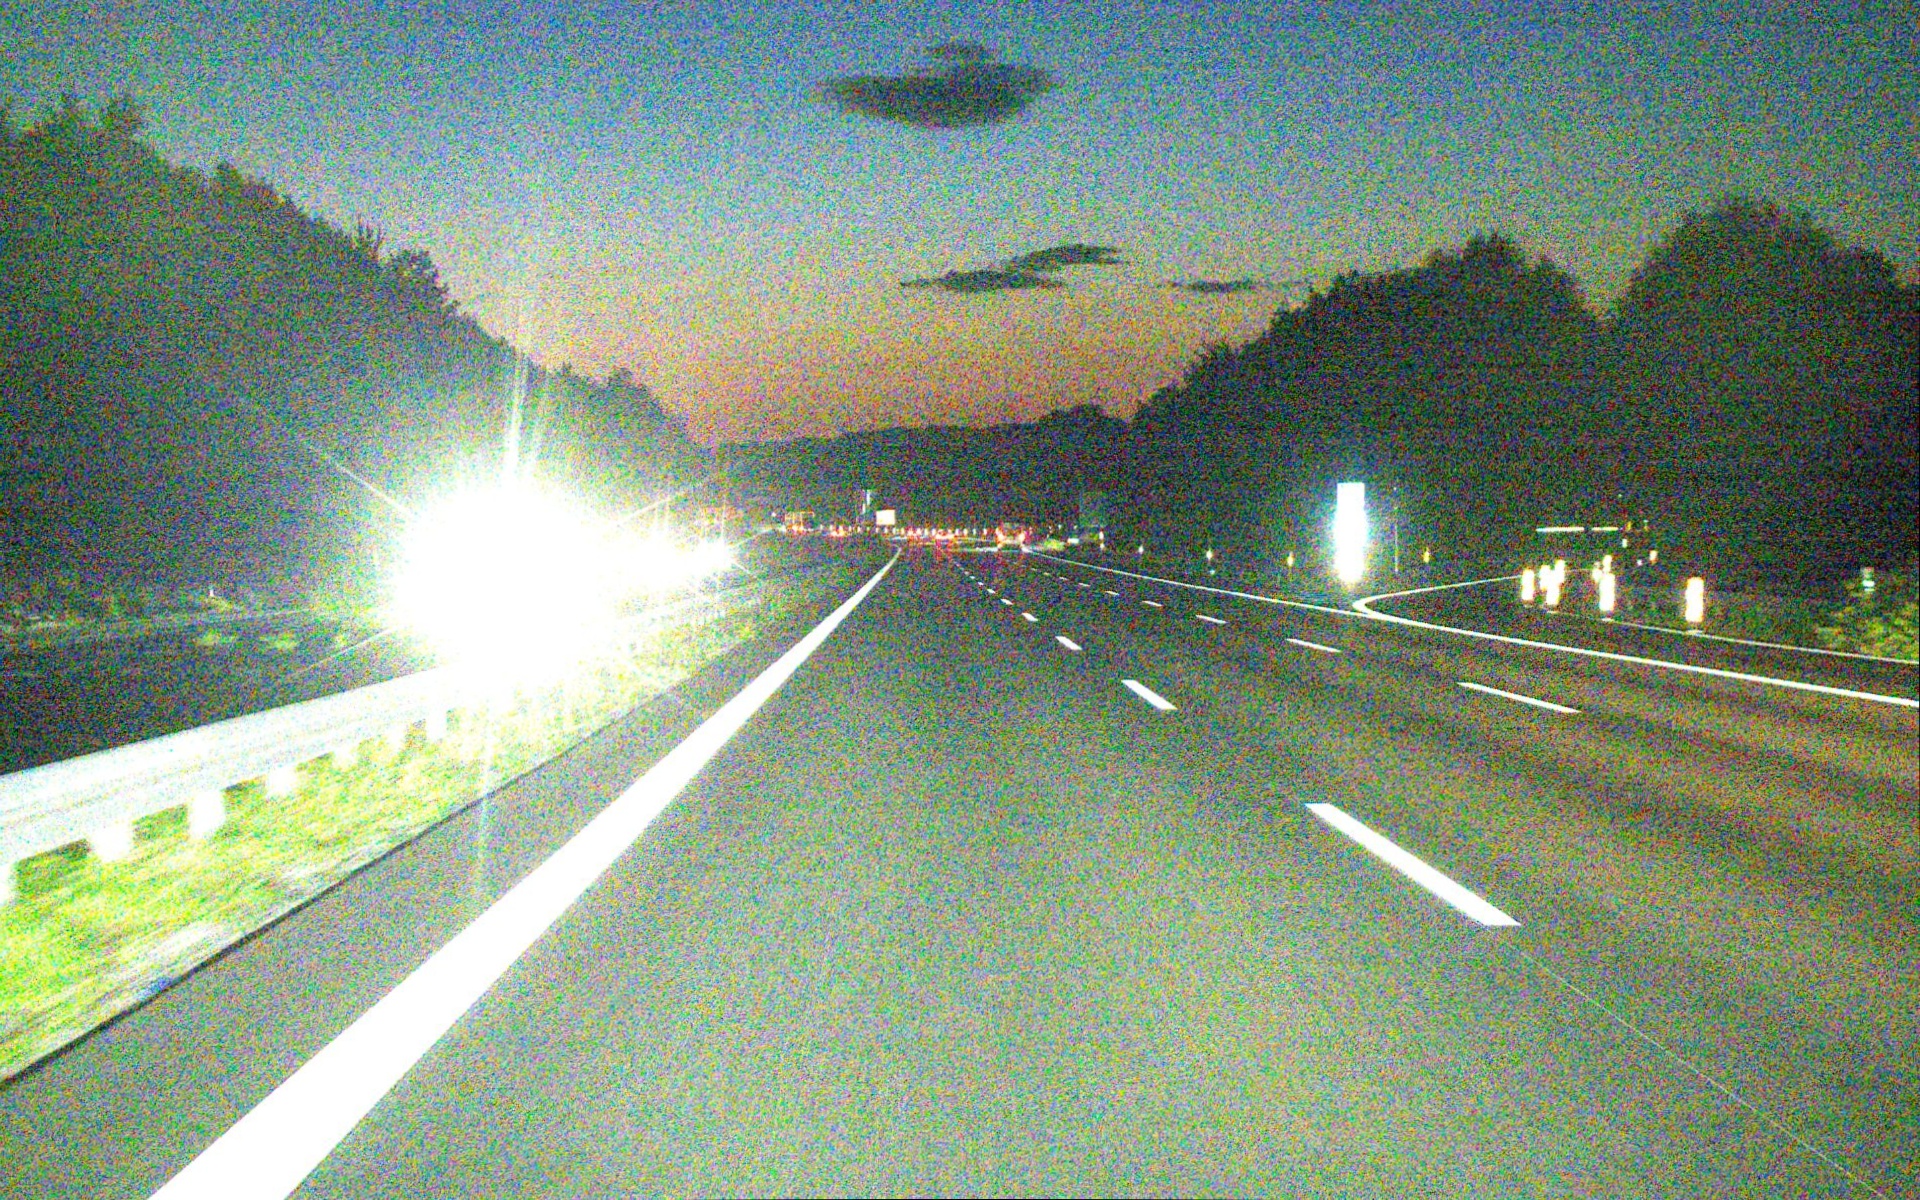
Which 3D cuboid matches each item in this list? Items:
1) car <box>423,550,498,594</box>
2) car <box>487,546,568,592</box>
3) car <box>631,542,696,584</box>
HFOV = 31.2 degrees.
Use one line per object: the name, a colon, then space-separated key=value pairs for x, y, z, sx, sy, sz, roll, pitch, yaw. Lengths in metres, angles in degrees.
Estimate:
car: x=-17.958 y=-1.016 z=123.767 sx=1.993 sy=1.480 sz=4.801 roll=-2 pitch=1 yaw=-1
car: x=-14.057 y=-1.022 z=112.002 sx=1.993 sy=1.389 sz=5.706 roll=-2 pitch=1 yaw=-1
car: x=-11.259 y=-1.411 z=130.757 sx=1.993 sy=1.456 sz=4.900 roll=-3 pitch=1 yaw=0
